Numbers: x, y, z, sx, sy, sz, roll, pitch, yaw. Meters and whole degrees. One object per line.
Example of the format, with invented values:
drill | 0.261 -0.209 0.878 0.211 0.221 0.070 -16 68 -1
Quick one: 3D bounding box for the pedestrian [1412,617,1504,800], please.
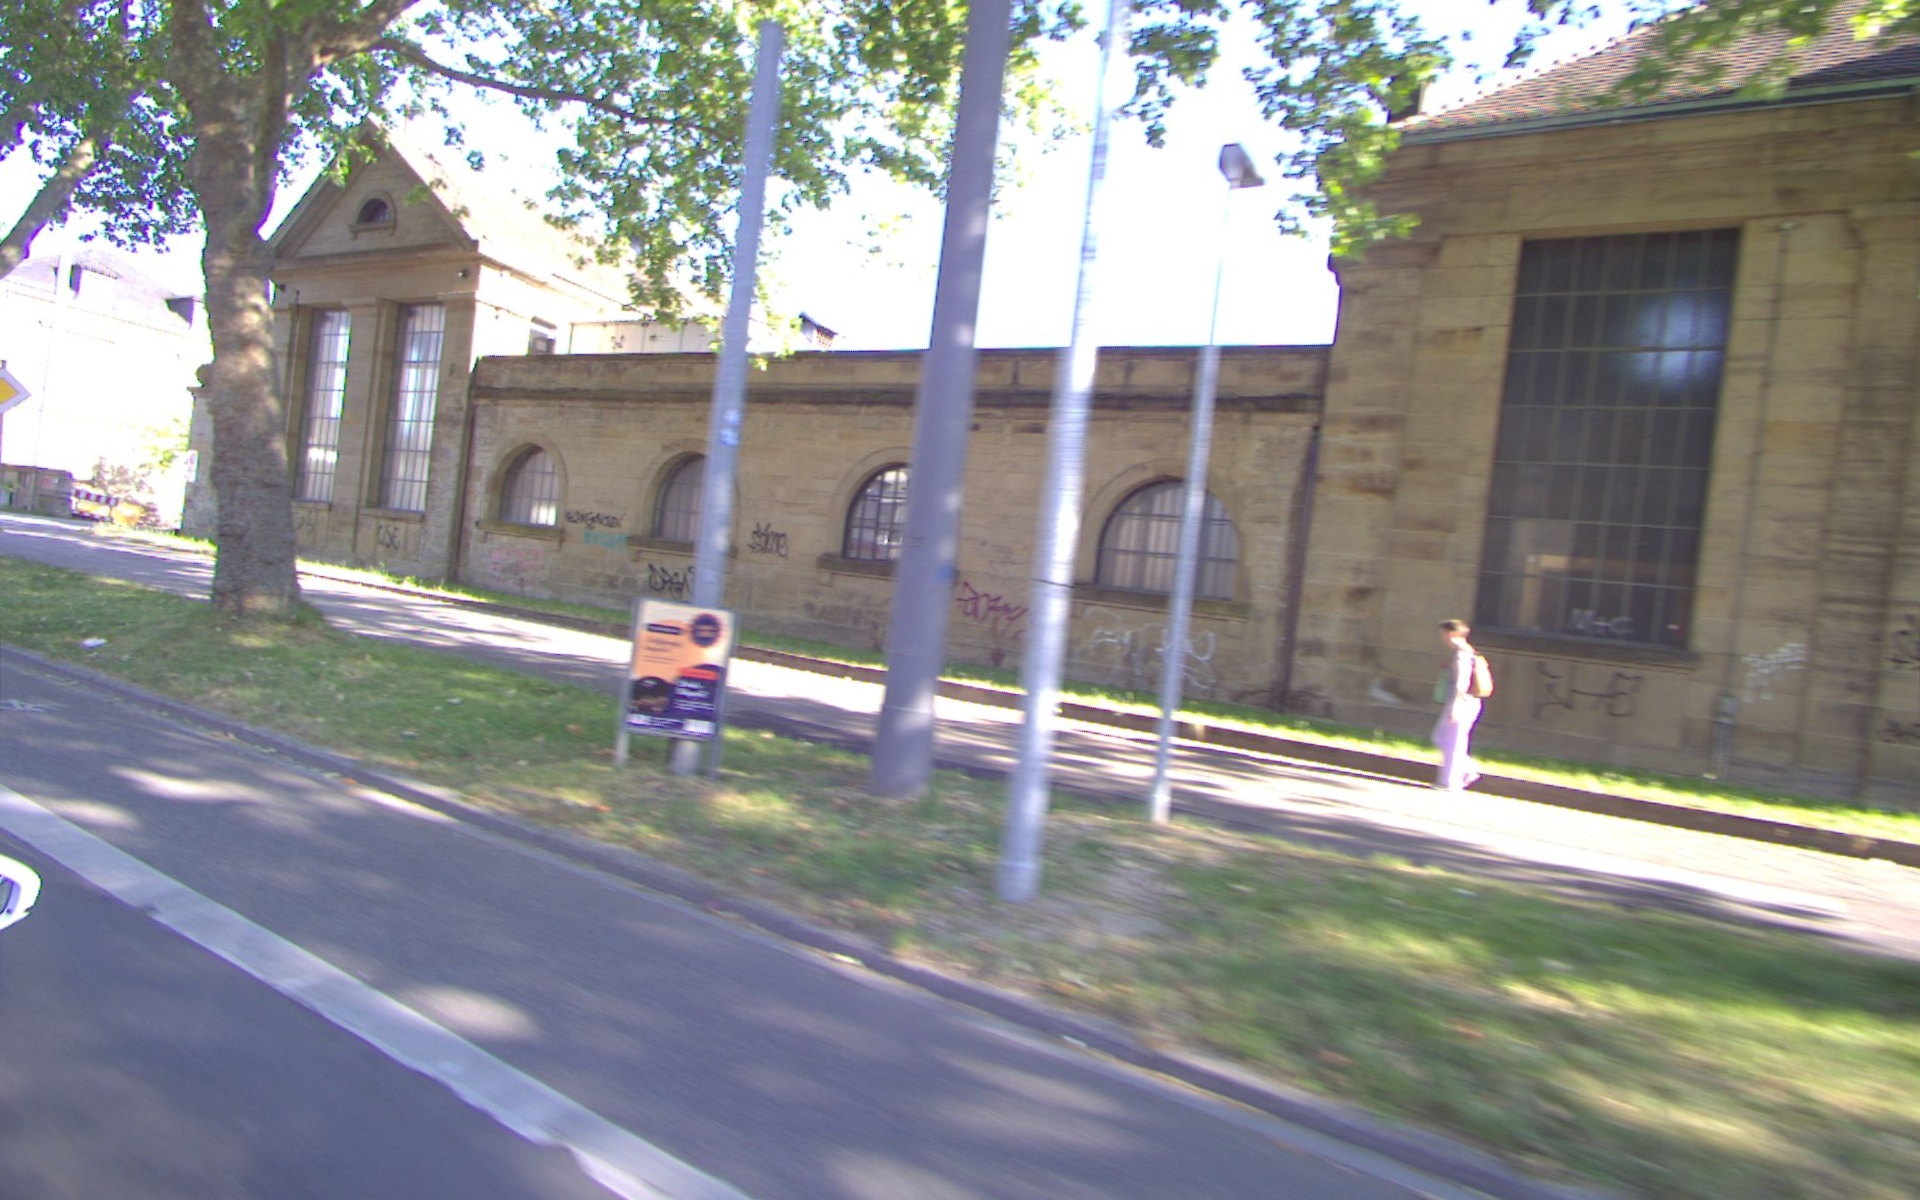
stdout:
pedestrian | 5.024 1.064 10.162 0.625 1.706 0.608 7 5 27
